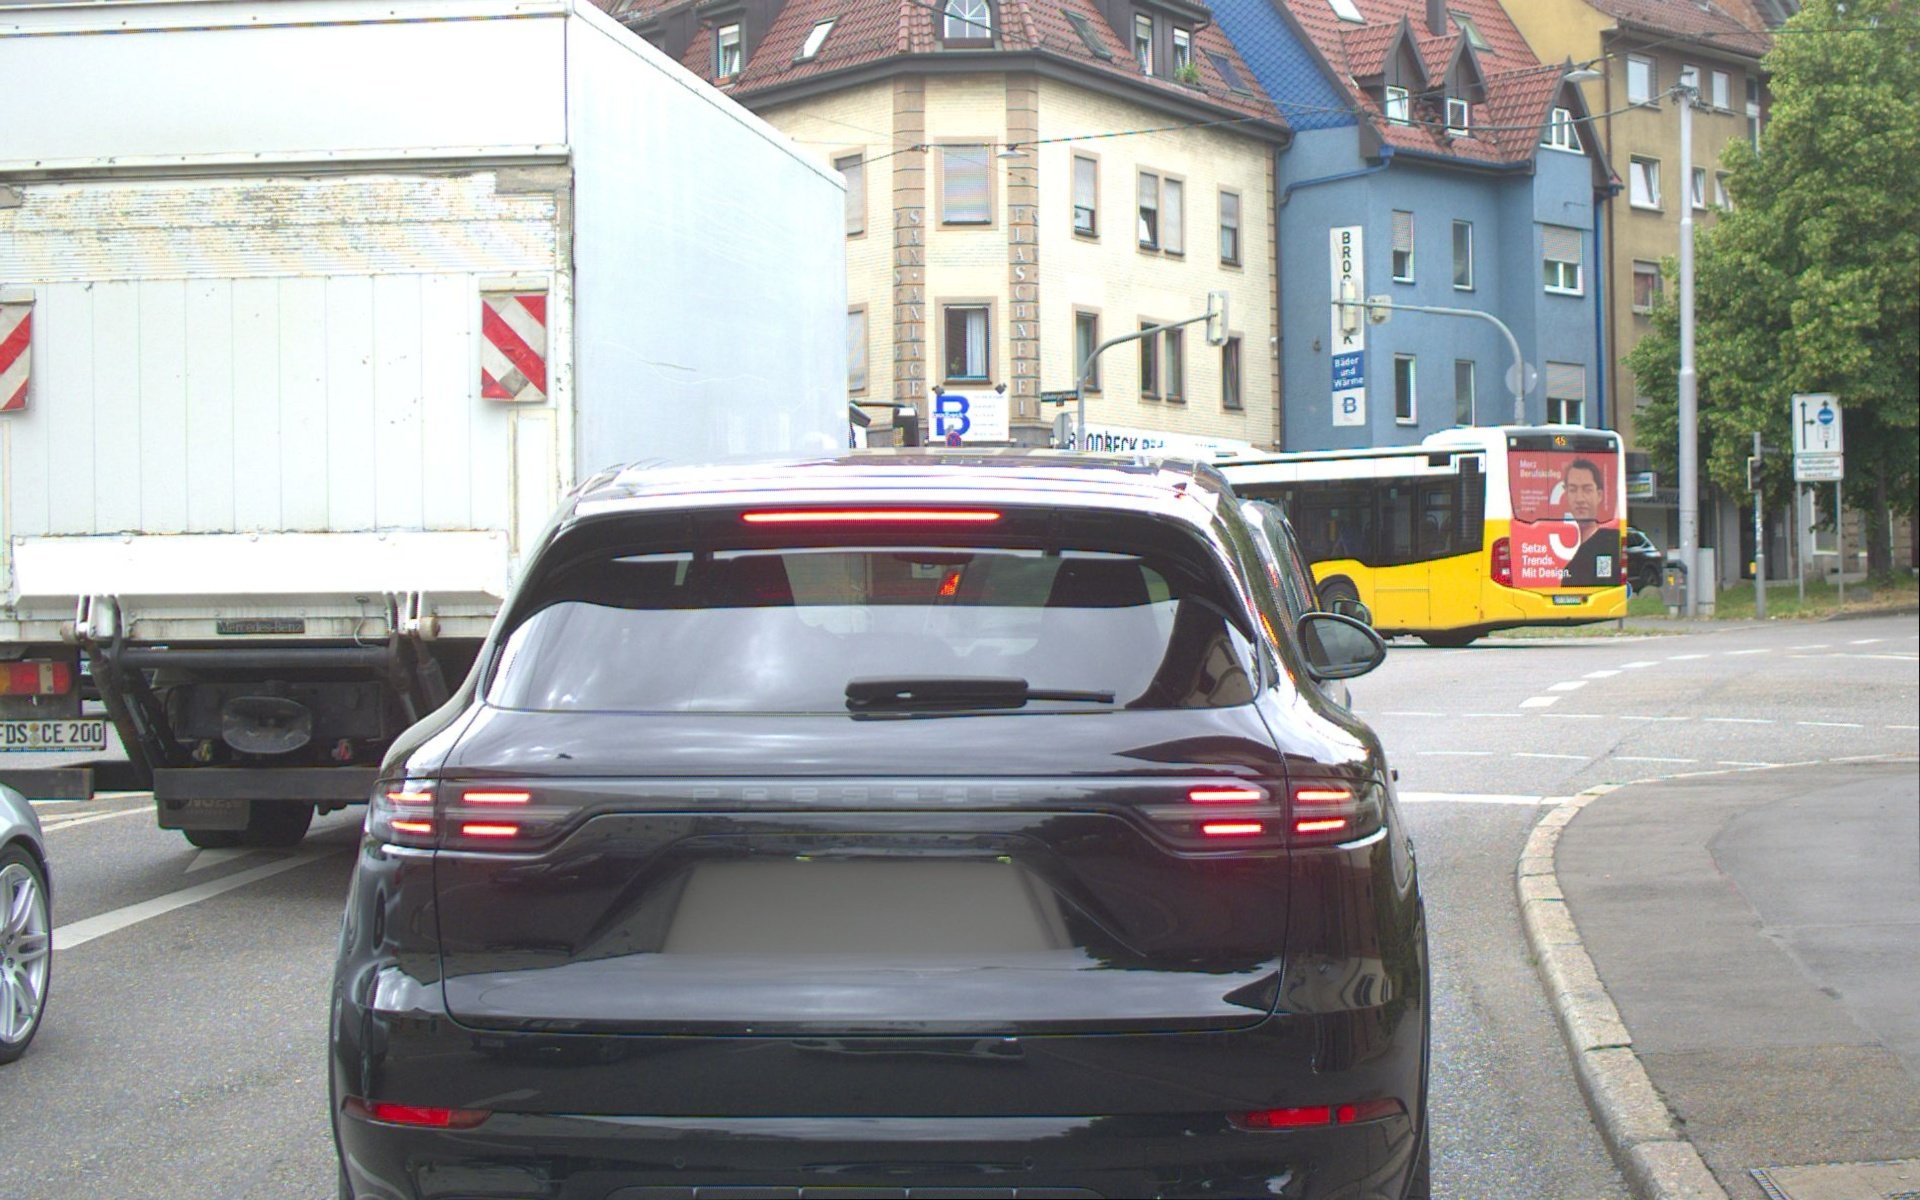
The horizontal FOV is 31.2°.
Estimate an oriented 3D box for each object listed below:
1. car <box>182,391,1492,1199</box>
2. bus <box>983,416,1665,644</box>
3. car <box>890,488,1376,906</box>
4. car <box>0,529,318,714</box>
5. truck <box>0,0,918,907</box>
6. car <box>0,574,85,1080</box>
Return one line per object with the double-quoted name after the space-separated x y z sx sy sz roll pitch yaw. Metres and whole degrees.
-0.115 0.503 7.616 2.032 1.717 4.500 1 1 2 "car"
5.147 -0.943 52.507 3.157 3.085 12.149 -2 0 -35 "bus"
0.858 0.345 14.776 1.649 1.550 3.581 1 1 10 "car"
-7.077 0.152 30.495 1.598 1.512 3.458 -1 1 9 "car"
-2.207 -0.706 17.350 2.726 3.532 8.419 1 1 8 "truck"
-3.508 0.660 8.025 1.629 1.360 4.128 -1 1 4 "car"
